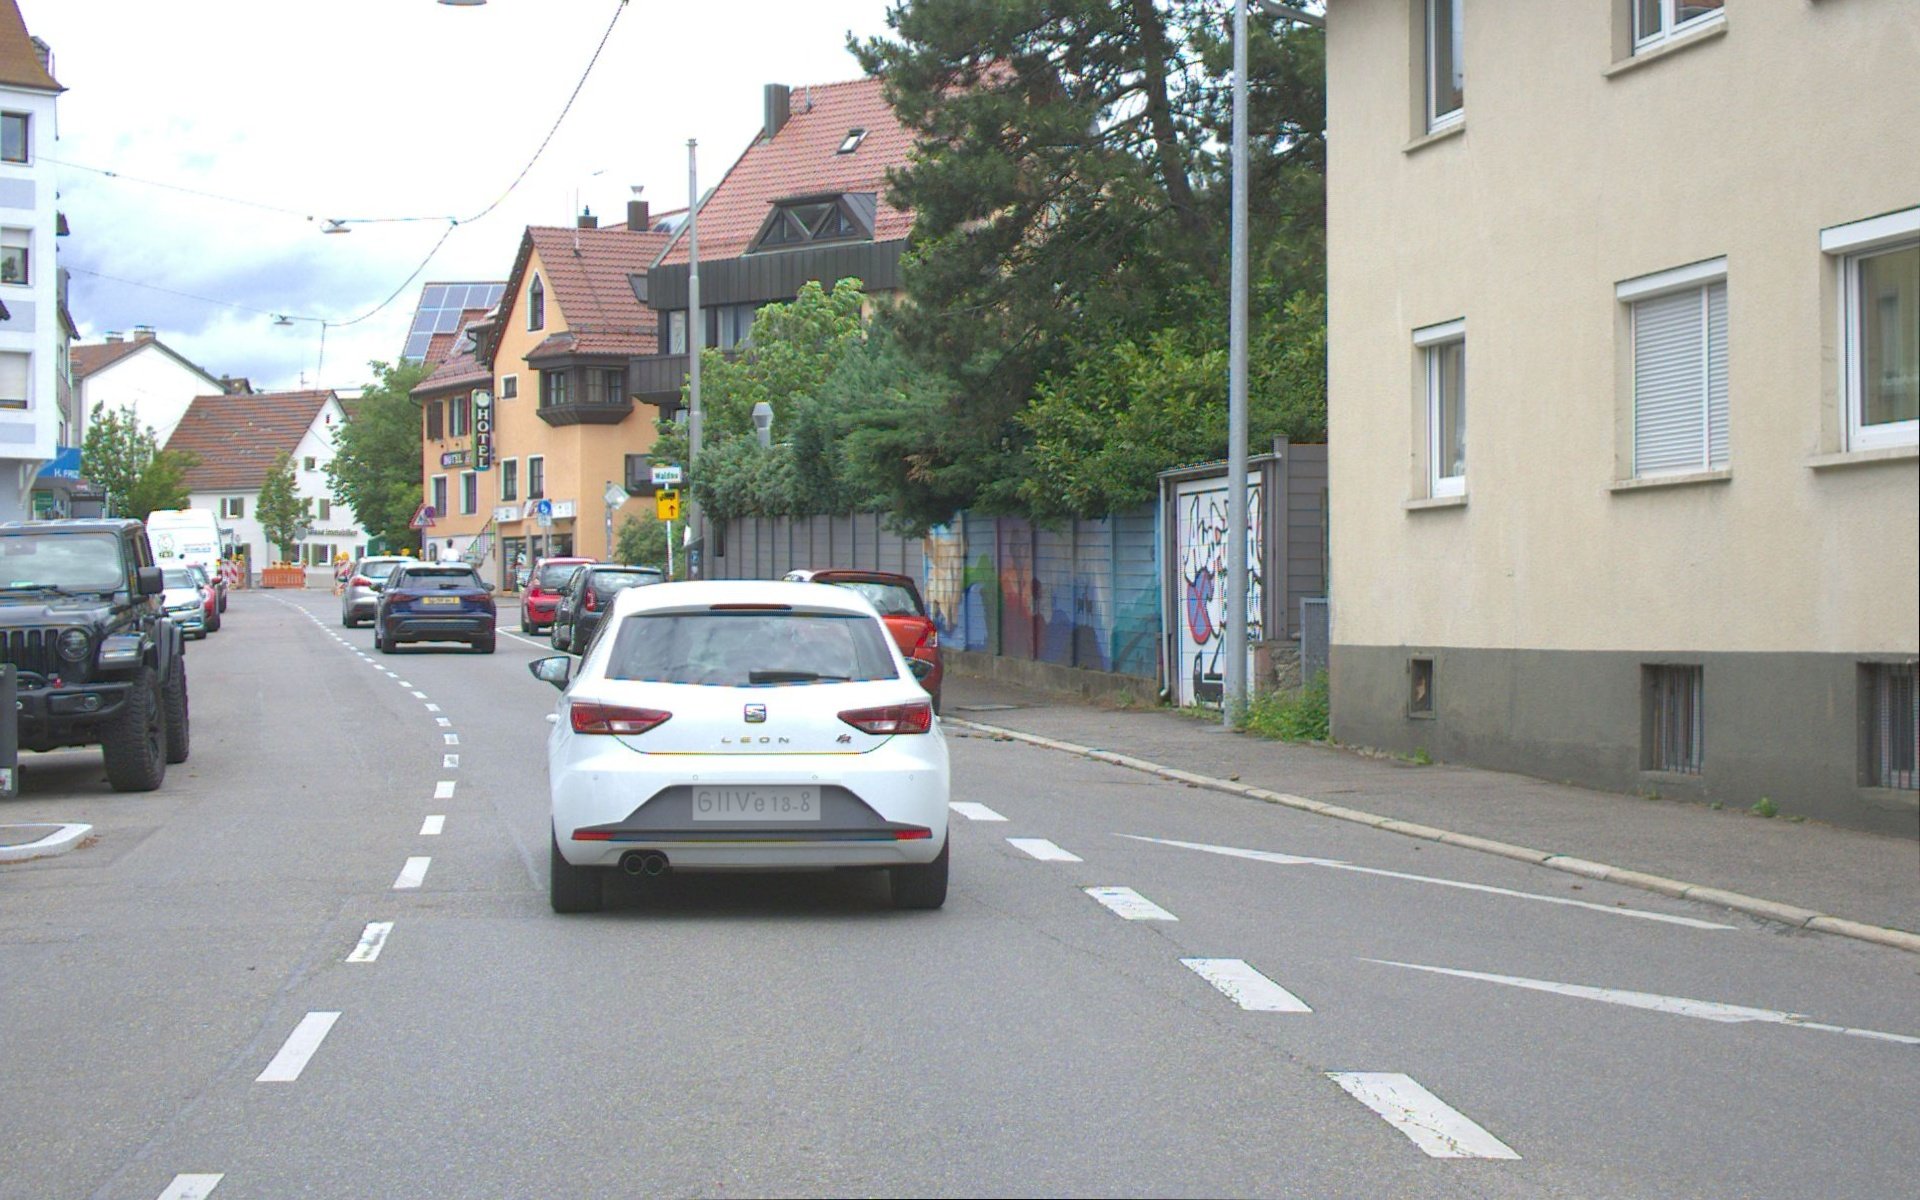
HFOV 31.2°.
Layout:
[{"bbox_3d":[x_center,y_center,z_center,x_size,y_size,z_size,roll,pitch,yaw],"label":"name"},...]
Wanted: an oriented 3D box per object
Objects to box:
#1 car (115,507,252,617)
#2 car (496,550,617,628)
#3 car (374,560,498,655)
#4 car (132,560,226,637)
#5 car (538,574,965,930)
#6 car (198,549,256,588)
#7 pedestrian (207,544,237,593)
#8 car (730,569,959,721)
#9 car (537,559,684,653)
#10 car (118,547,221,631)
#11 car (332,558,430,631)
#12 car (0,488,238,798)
[{"bbox_3d":[-19.788,-0.990,87.885,2.152,2.677,5.545,1,1,1],"label":"car"},{"bbox_3d":[-7.761,-0.235,65.861,1.758,1.447,4.001,0,1,-15],"label":"car"},{"bbox_3d":[-8.301,0.092,54.254,1.758,1.447,4.001,0,1,-11],"label":"car"},{"bbox_3d":[-16.227,-0.061,71.519,1.799,1.474,4.052,-3,1,-12],"label":"car"},{"bbox_3d":[-1.099,0.610,16.188,1.758,1.447,4.001,0,1,-7],"label":"car"},{"bbox_3d":[-32.387,-1.393,151.960,1.794,1.696,4.000,1,1,-1],"label":"car"},{"bbox_3d":[-30.941,-1.322,144.146,1.228,2.007,1.176,0,1,-11],"label":"pedestrian"},{"bbox_3d":[-1.267,0.430,35.998,1.758,1.447,4.001,2,0,-11],"label":"car"},{"bbox_3d":[-5.657,0.070,55.265,1.758,1.447,4.001,0,1,-15],"label":"car"},{"bbox_3d":[-15.103,-0.238,65.799,1.799,1.474,4.052,-3,1,-12],"label":"car"},{"bbox_3d":[-11.924,-0.137,70.606,1.758,1.447,4.001,0,1,-13],"label":"car"},{"bbox_3d":[-6.590,0.260,24.997,1.993,2.007,4.671,-2,1,-5],"label":"car"}]
